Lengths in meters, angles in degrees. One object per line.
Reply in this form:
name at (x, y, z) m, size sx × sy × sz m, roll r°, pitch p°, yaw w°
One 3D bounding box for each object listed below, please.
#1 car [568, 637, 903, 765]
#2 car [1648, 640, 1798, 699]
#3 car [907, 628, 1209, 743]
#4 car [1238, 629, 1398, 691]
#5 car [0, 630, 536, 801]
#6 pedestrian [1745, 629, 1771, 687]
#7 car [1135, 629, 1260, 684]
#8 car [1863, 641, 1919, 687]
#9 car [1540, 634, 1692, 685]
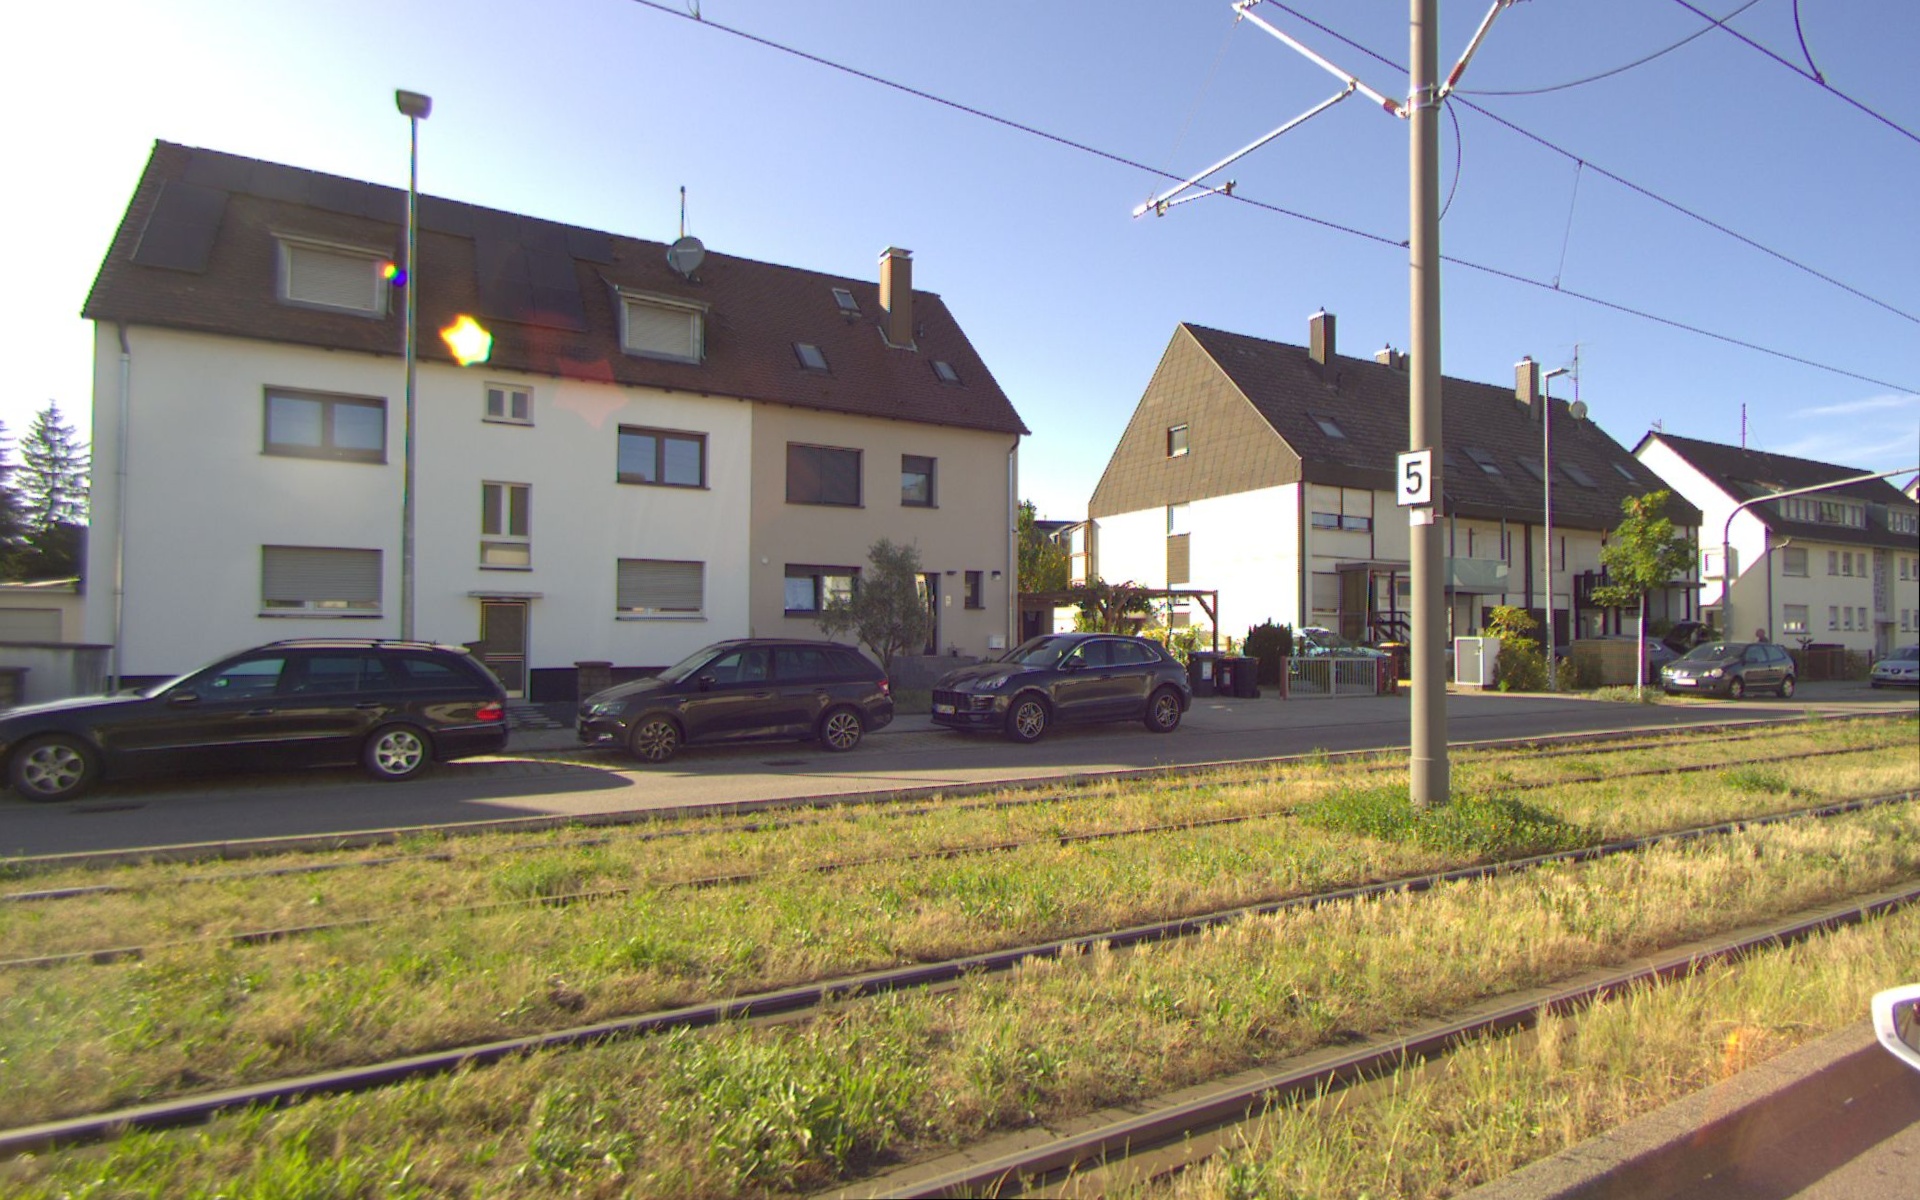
car at (-2.960, 1.248, 13.511) m, size 4.150 × 1.494 × 1.514 m, roll 1°, pitch -2°, yaw -29°
car at (20.120, 1.788, 26.489) m, size 3.667 × 1.472 × 1.614 m, roll 1°, pitch -2°, yaw -25°
car at (1.655, 1.277, 16.135) m, size 4.760 × 1.618 × 1.793 m, roll 1°, pitch -2°, yaw -33°
car at (10.118, 1.658, 28.699) m, size 1.741 × 1.638 × 4.142 m, roll 1°, pitch -2°, yaw -33°
car at (-7.328, 1.144, 11.010) m, size 4.818 × 1.543 × 1.870 m, roll 2°, pitch -2°, yaw -27°
pedestrian at (24.706, 1.781, 31.097) m, size 0.529 × 1.769 × 0.466 m, roll 1°, pitch -2°, yaw -30°
car at (7.746, 1.827, 33.132) m, size 1.832 × 1.676 × 4.145 m, roll 1°, pitch -2°, yaw -26°
car at (31.125, 2.117, 32.603) m, size 3.673 × 1.427 × 1.612 m, roll 3°, pitch -3°, yaw -29°
car at (21.593, 1.932, 33.193) m, size 1.718 × 1.588 × 3.876 m, roll 2°, pitch -3°, yaw -36°
